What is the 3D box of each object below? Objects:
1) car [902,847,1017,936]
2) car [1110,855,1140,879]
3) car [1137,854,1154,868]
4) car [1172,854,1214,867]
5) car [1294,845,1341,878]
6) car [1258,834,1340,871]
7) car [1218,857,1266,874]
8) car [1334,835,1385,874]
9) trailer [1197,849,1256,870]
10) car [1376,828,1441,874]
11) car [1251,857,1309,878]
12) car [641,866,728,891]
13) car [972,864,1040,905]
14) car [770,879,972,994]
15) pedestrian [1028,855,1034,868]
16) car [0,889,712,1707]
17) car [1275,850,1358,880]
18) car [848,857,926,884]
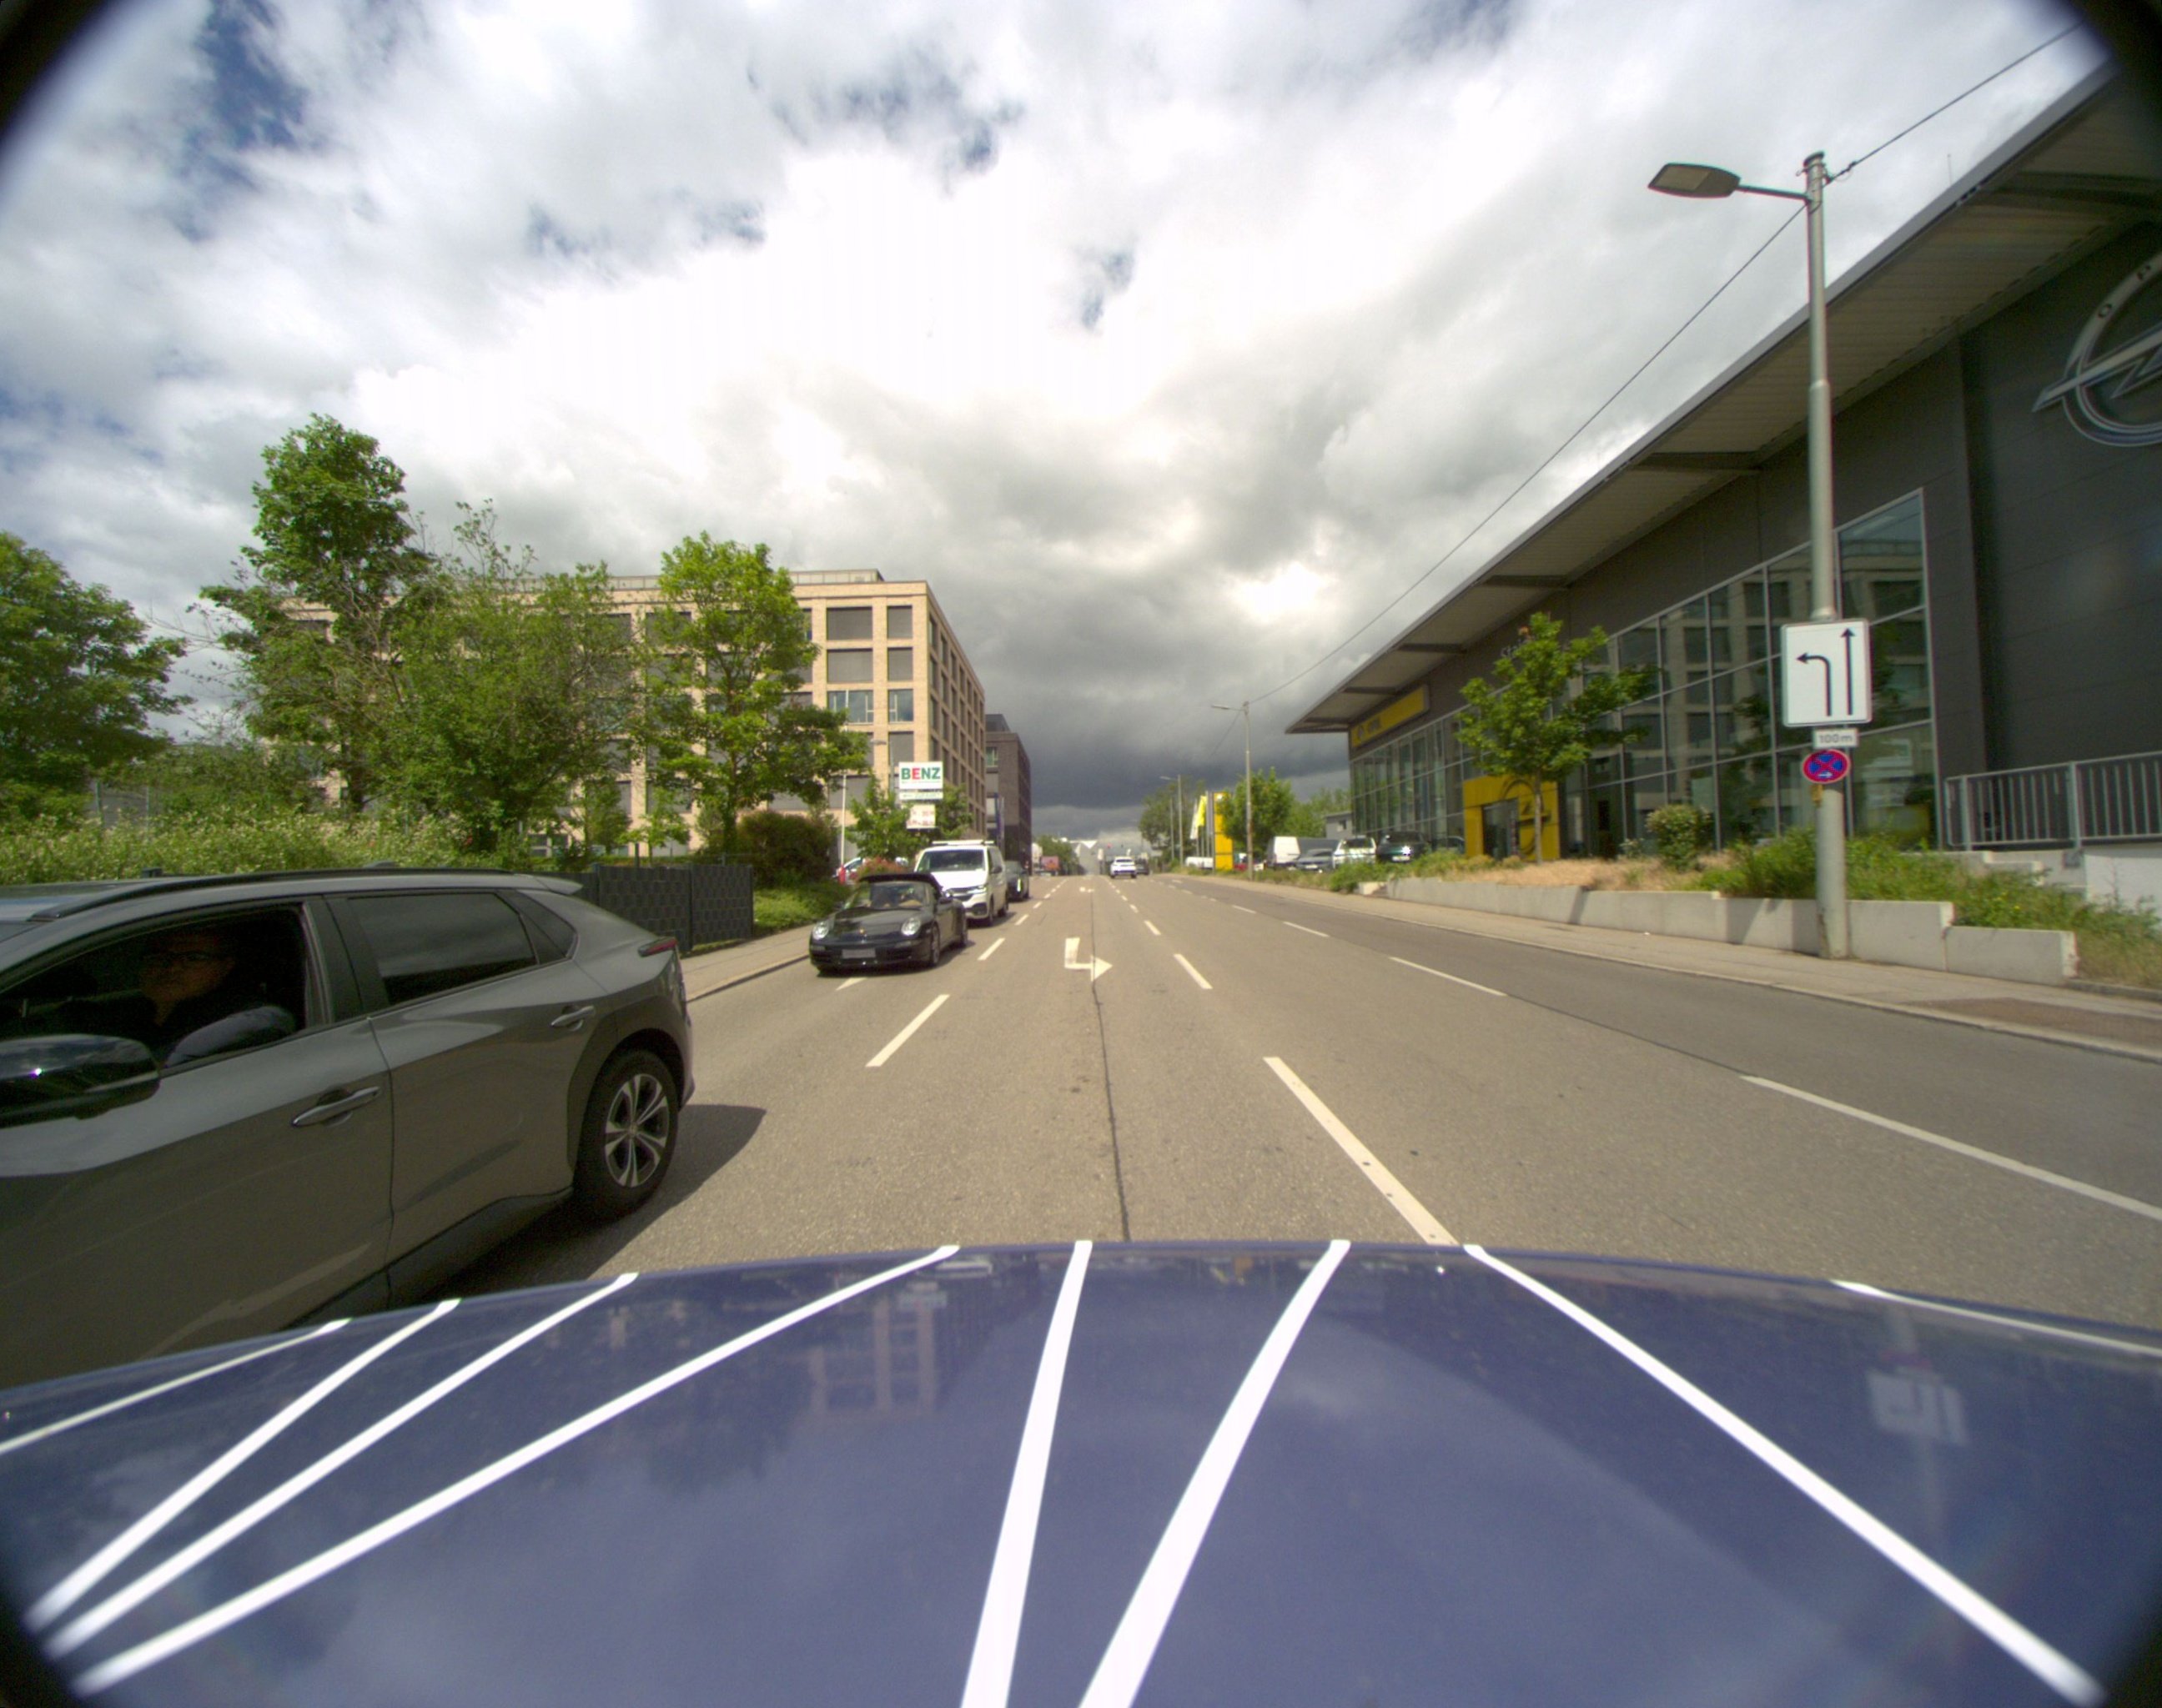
[{"bbox_3d":[-2.840,0.827,18.826,1.964,1.840,4.645,-3,0,1],"label":"car"},{"bbox_3d":[3.350,0.958,58.662,1.924,1.604,4.416,-5,0,1],"label":"car"},{"bbox_3d":[7.243,0.781,85.477,1.762,1.513,3.959,-1,0,5],"label":"car"},{"bbox_3d":[12.394,0.721,84.416,4.252,1.473,2.095,-1,0,-2],"label":"car"},{"bbox_3d":[12.224,0.393,39.109,1.794,1.604,4.116,-1,0,24],"label":"car"},{"bbox_3d":[13.657,-0.092,47.820,4.531,2.182,2.179,-1,1,-1],"label":"car"},{"bbox_3d":[13.696,1.002,64.797,3.669,1.401,1.815,-1,0,2],"label":"car"},{"bbox_3d":[12.350,-0.006,33.570,1.793,1.604,4.115,-1,1,25],"label":"car"},{"bbox_3d":[13.136,0.495,68.683,4.835,1.742,2.095,-1,0,-3],"label":"trailer"},{"bbox_3d":[12.441,-0.120,28.739,1.817,1.604,4.117,1,1,29],"label":"car"},{"bbox_3d":[14.952,1.041,57.287,3.946,1.518,1.561,-1,0,-2],"label":"car"},{"bbox_3d":[-23.387,1.431,44.903,4.219,1.410,1.735,-1,0,-1],"label":"car"},{"bbox_3d":[-2.708,1.081,28.418,1.777,1.267,4.569,-1,0,4],"label":"car"},{"bbox_3d":[-3.040,1.146,12.112,1.777,1.267,4.569,-3,0,2],"label":"car"},{"bbox_3d":[-5.859,0.852,89.156,0.578,1.497,0.542,-1,1,1],"label":"pedestrian"},{"bbox_3d":[-2.992,1.027,1.703,1.924,1.604,4.683,-3,0,1],"label":"car"},{"bbox_3d":[13.327,0.589,43.014,4.108,1.604,1.797,-1,0,-8],"label":"car"},{"bbox_3d":[-11.585,0.957,45.528,4.220,1.567,1.735,-1,0,-4],"label":"car"}]
